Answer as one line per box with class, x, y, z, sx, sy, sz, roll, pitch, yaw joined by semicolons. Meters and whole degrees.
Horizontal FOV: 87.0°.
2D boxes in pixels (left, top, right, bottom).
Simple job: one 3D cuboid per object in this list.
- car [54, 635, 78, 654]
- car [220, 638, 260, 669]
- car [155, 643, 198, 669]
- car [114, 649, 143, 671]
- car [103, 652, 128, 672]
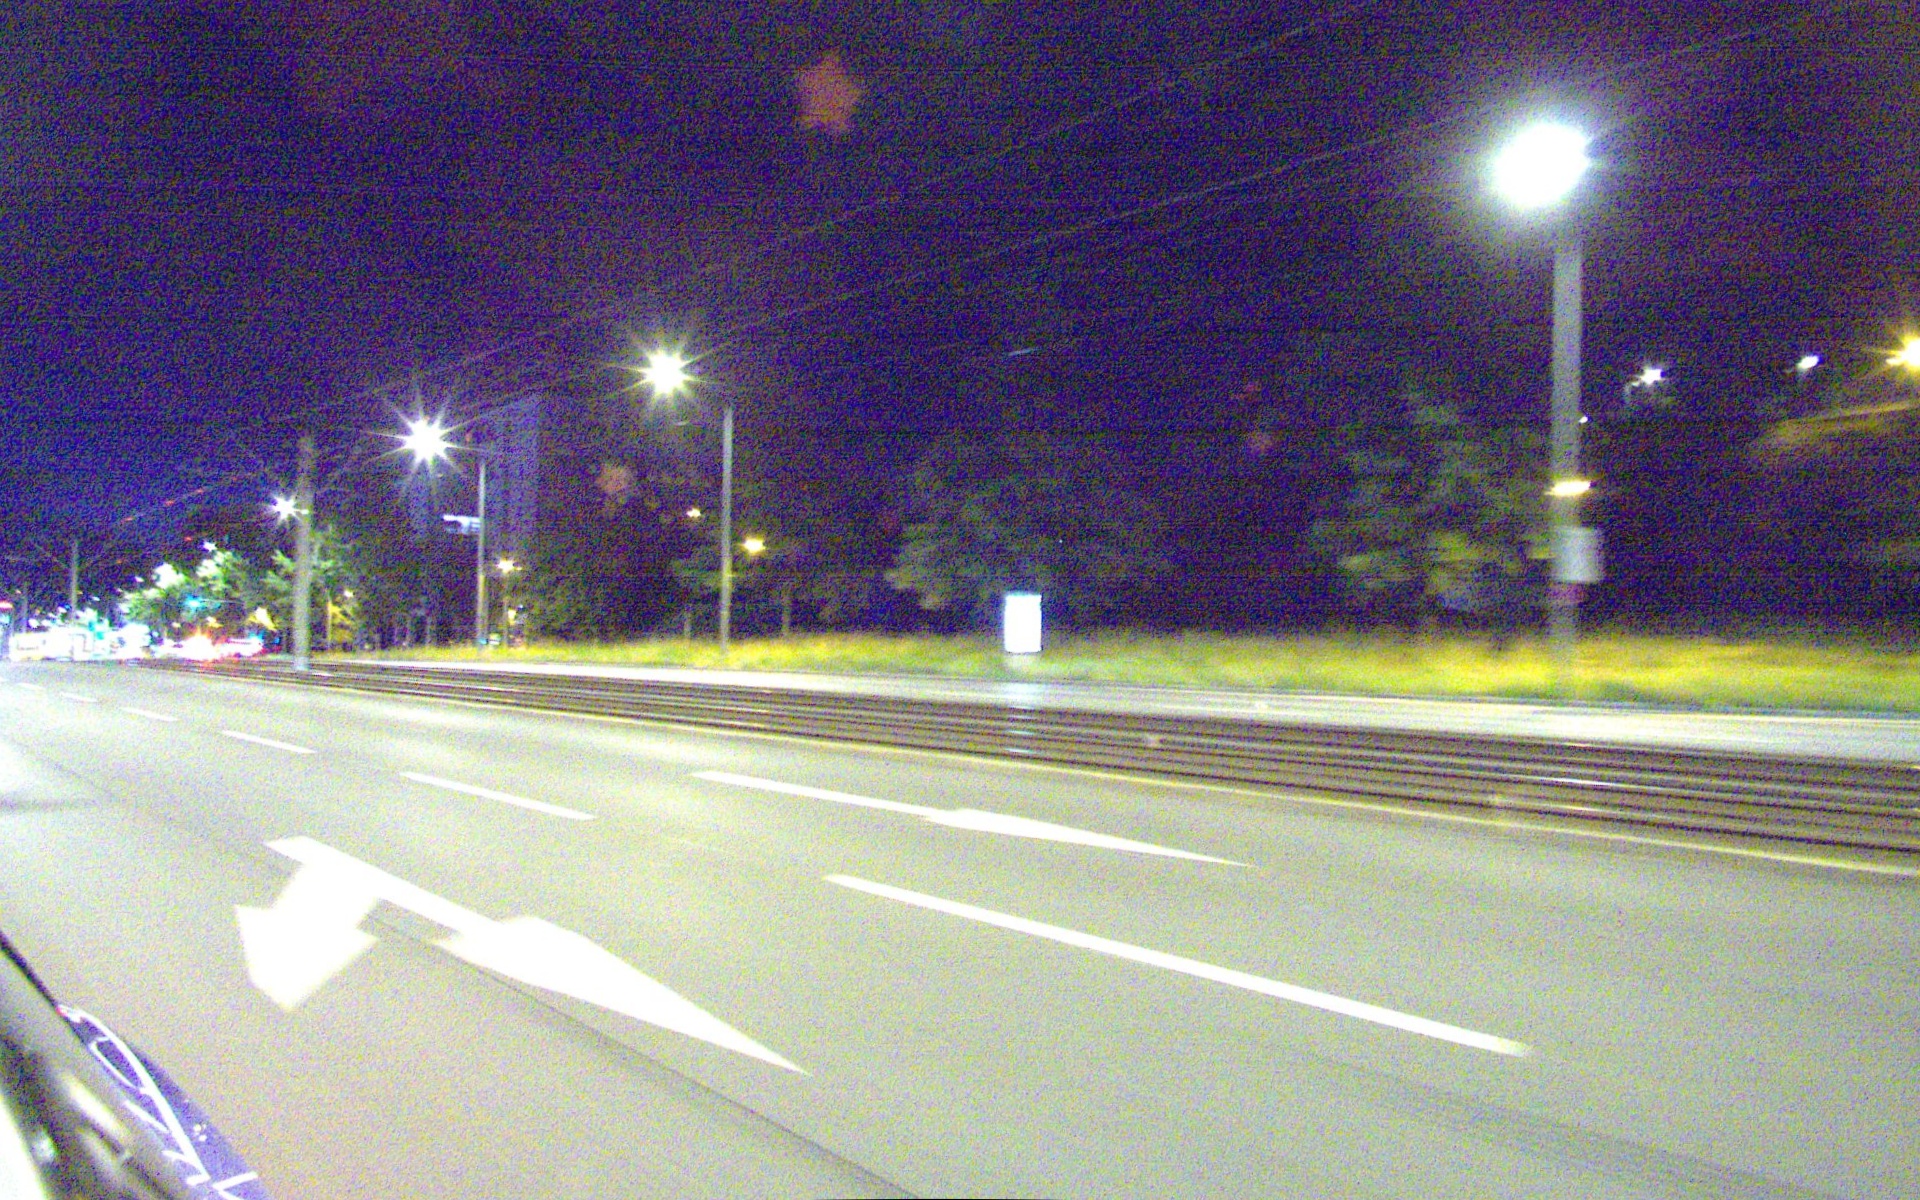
car;-98.809;4.895;111.848;1.769;1.921;4.003;-1;0;-44
car;-52.581;3.884;73.912;2.030;2.029;4.006;-1;0;-40
car;-59.175;4.192;76.456;3.997;1.751;1.772;-1;0;40
car;-78.334;5.615;95.350;1.769;1.803;4.003;-1;0;-44
car;-93.202;6.792;111.639;1.769;2.029;4.003;-1;0;-44
